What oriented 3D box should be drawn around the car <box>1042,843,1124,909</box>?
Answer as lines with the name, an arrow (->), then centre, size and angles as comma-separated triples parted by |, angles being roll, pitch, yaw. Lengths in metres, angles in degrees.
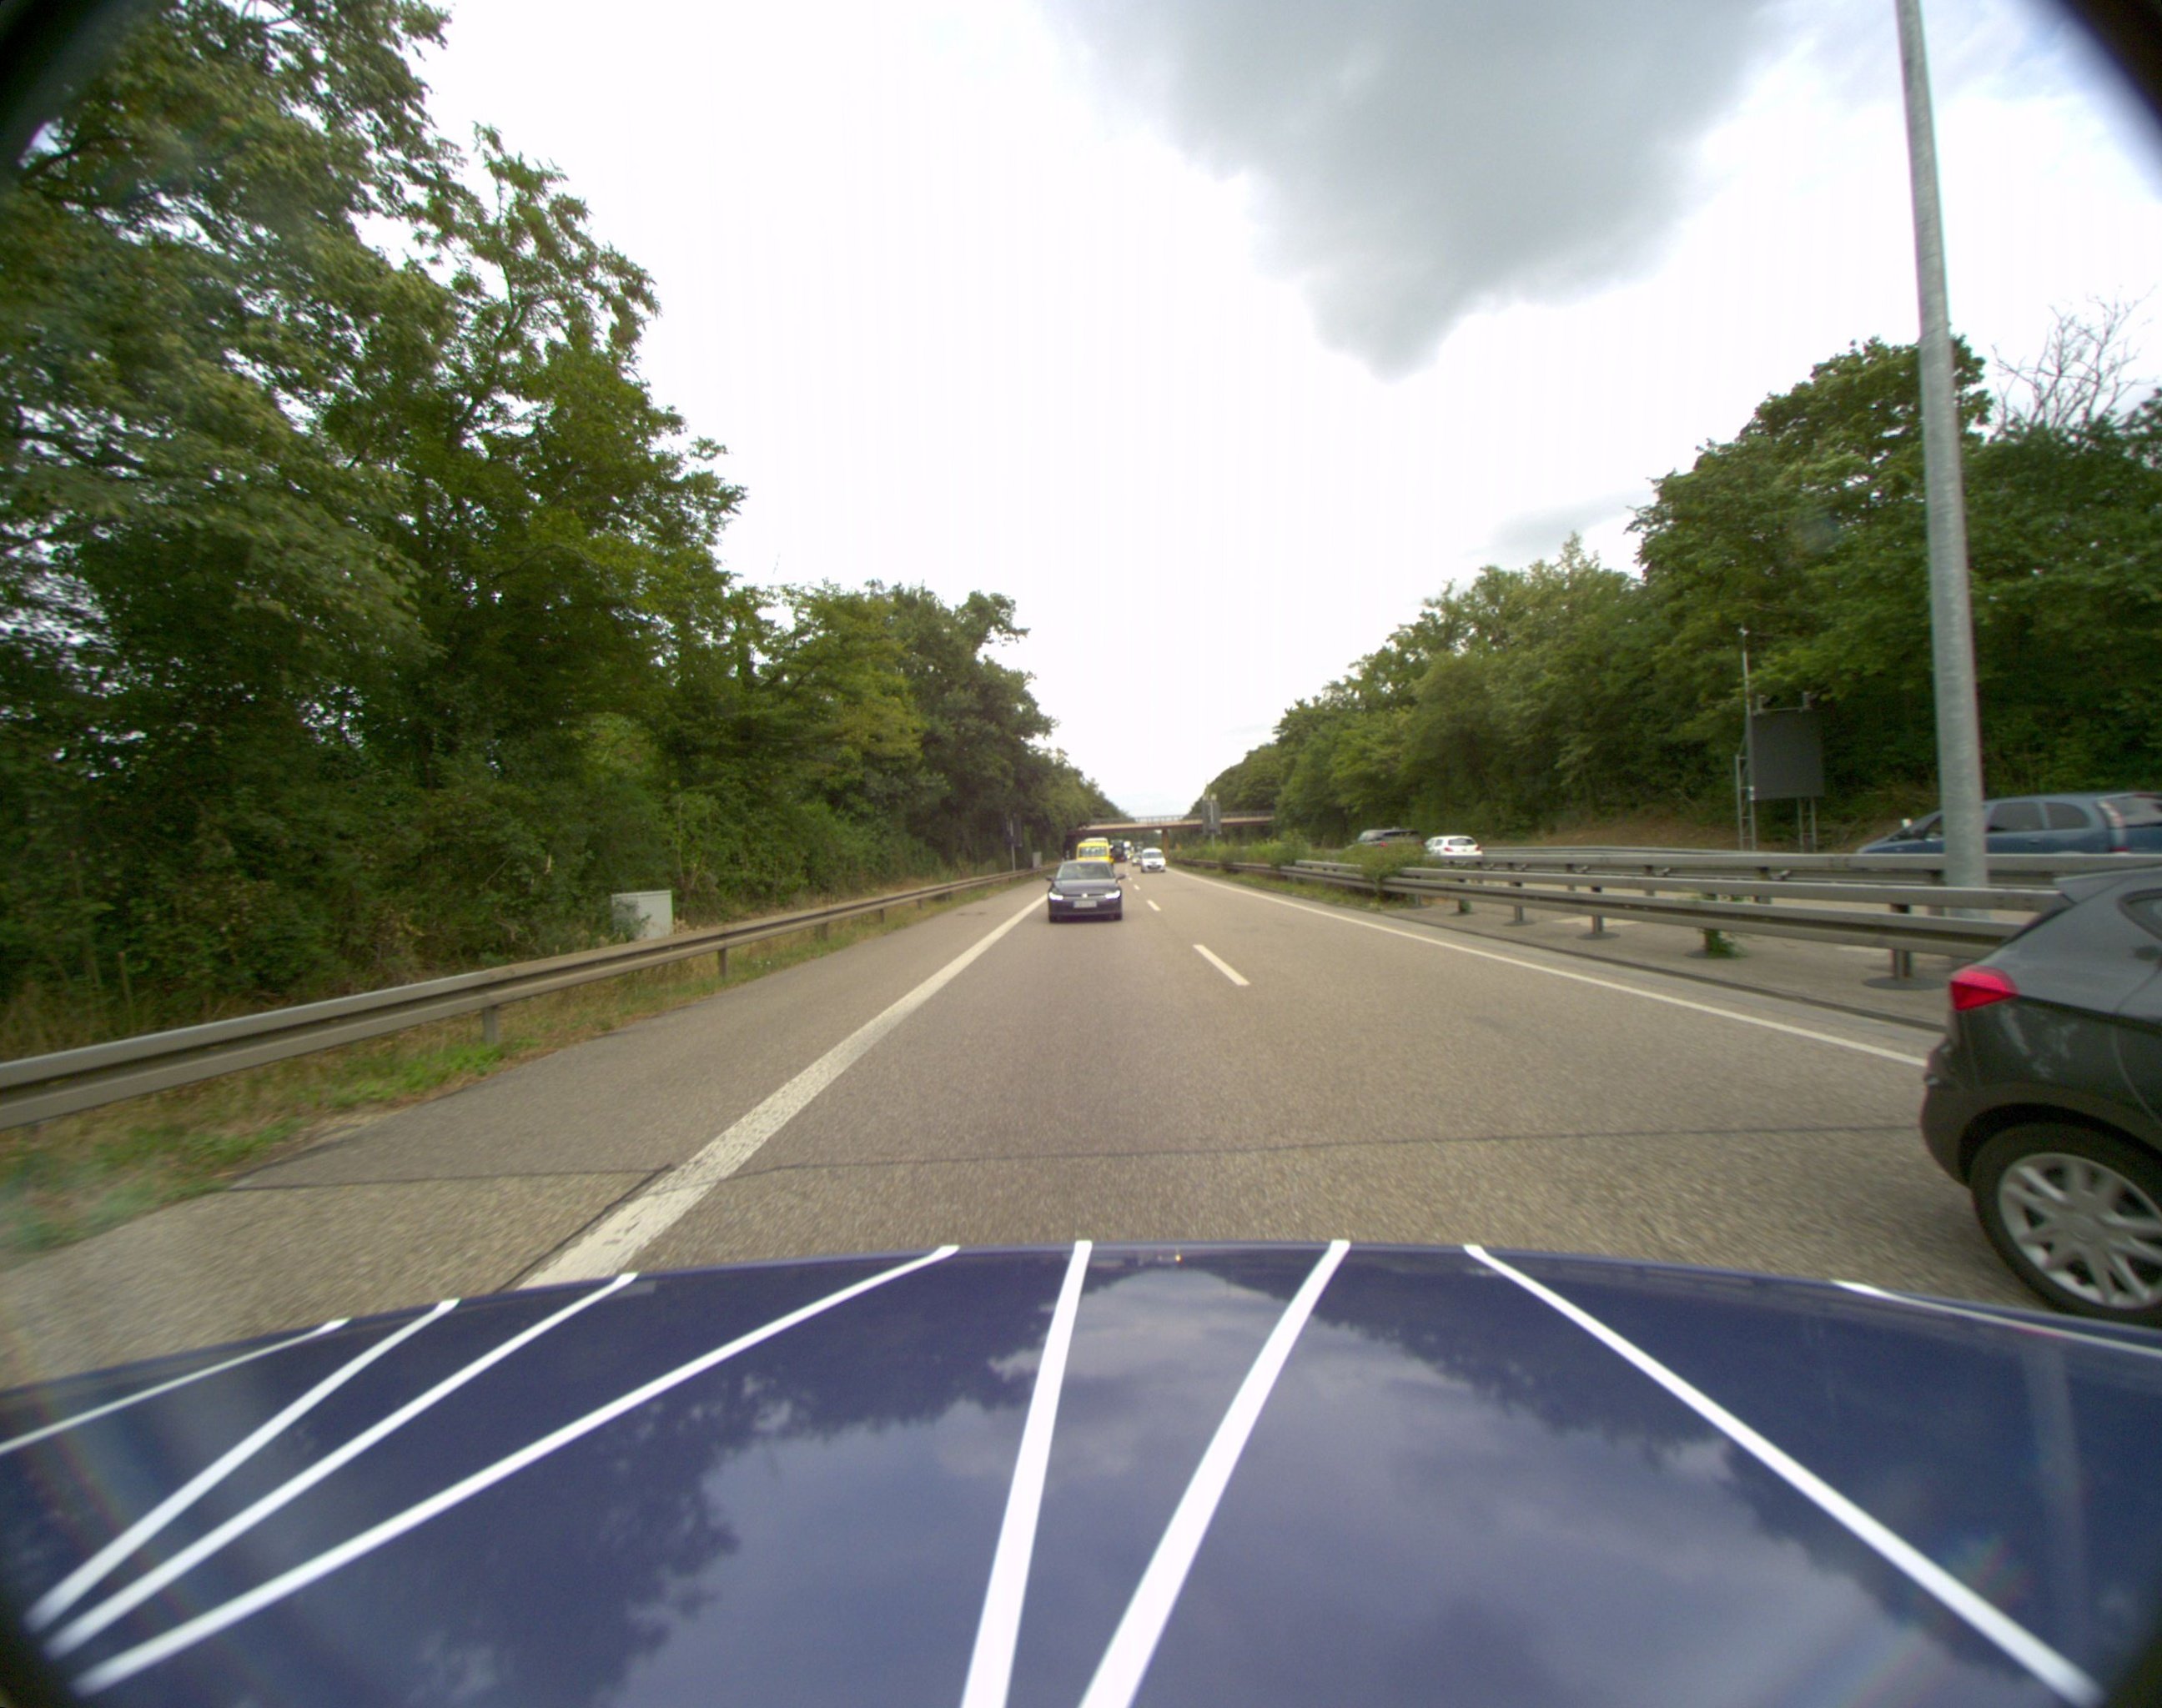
car -> 0.175, 0.462, 19.334 | 1.800, 1.398, 4.640 | -2, 1, 3

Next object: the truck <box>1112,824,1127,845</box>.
truck -> 6.821, -3.465, 133.778 | 2.547, 3.565, 6.457 | -2, 1, 4

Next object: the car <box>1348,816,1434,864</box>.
car -> 12.555, -0.571, 31.081 | 1.765, 1.759, 4.541 | -2, 1, 2

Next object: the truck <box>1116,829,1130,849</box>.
truck -> 9.753, -3.429, 174.910 | 3.099, 4.463, 12.210 | -2, 1, 4

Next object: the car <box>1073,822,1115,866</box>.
car -> 0.788, -0.597, 44.661 | 2.247, 2.334, 5.224 | -2, 1, 2

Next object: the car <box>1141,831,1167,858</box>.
car -> 5.678, -0.760, 59.473 | 1.821, 1.993, 4.423 | -2, 1, 4

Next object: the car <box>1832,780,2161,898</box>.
car -> 15.089, -0.252, 12.334 | 1.735, 1.592, 4.131 | -2, 1, 0

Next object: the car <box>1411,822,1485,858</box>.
car -> 16.495, -0.631, 34.338 | 1.632, 1.499, 3.728 | -2, 1, 1

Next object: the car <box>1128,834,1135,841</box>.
car -> 13.973, -4.508, 211.128 | 1.823, 2.002, 3.999 | -2, 1, 1

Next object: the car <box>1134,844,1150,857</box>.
car -> 7.061, -0.432, 88.582 | 1.772, 1.416, 4.199 | -2, 1, 4

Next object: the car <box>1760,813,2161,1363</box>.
car -> 3.721, 0.614, 0.868 | 1.830, 1.449, 4.639 | -2, 1, 2

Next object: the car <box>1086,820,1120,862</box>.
car -> 1.563, -0.893, 53.354 | 2.207, 2.732, 6.167 | -2, 1, 2
